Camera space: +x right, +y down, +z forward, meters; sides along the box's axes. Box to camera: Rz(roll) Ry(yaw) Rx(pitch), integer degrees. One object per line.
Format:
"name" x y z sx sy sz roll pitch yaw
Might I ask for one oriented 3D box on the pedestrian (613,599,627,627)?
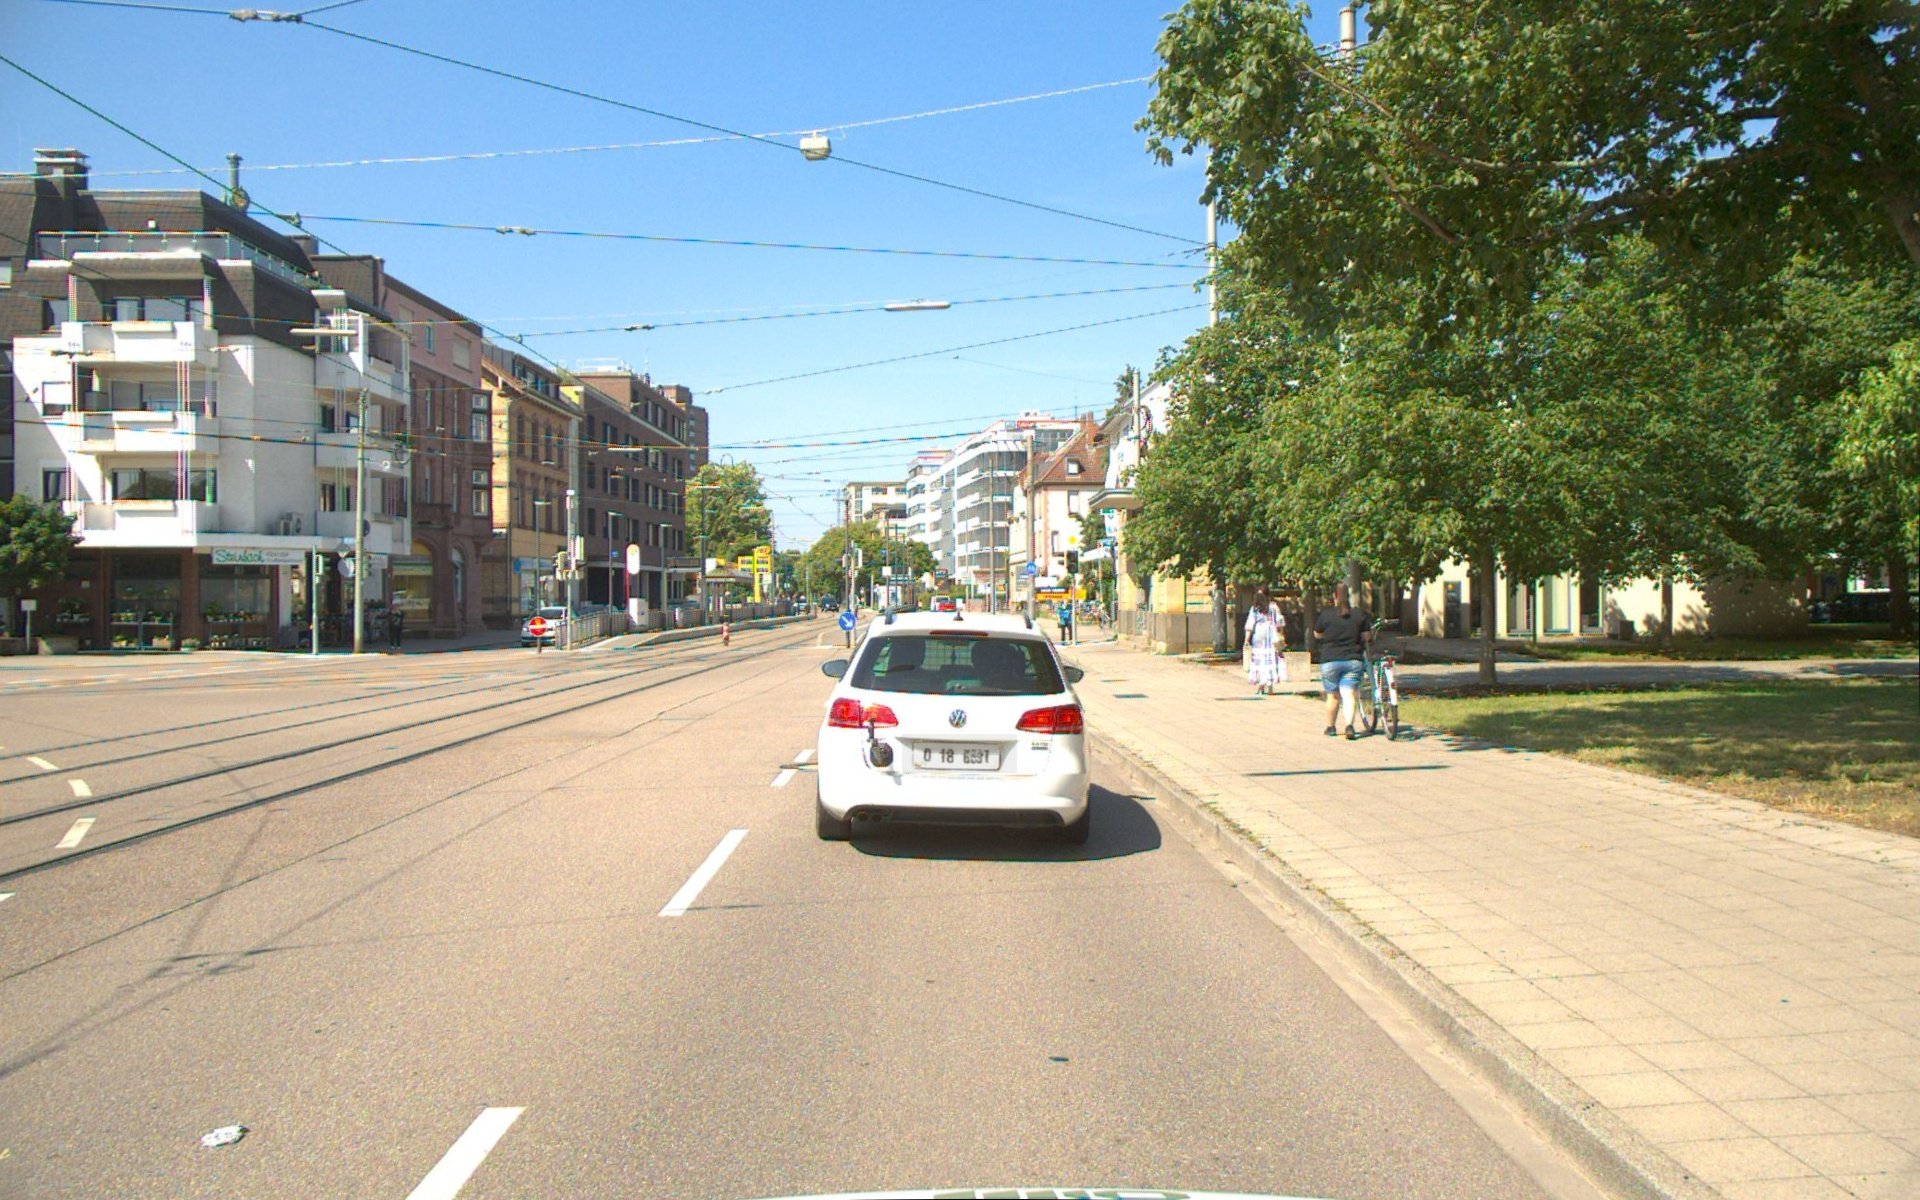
"pedestrian" -22.093 0.844 107.477 0.710 1.822 0.964 0 0 -1

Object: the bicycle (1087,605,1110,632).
"bicycle" 6.253 0.826 74.593 0.710 1.159 2.196 -1 0 12

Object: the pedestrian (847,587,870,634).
"pedestrian" -4.022 0.421 65.582 0.809 1.841 0.833 -1 0 0

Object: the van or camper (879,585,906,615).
"van or camper" -7.499 -0.004 183.907 2.884 3.235 6.611 -1 0 -2

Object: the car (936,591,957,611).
"car" -1.424 0.108 176.469 1.954 2.049 3.996 -1 0 -5

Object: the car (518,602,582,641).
"car" -15.921 0.824 64.410 1.593 1.456 3.961 0 0 -2

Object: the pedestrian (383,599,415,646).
"pedestrian" -20.260 0.814 59.720 0.861 1.676 0.680 -1 0 26

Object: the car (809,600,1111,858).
"car" 0.000 0.742 11.427 1.717 1.442 3.852 -1 0 0

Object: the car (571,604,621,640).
"car" -15.854 0.958 72.139 1.541 1.484 3.811 -1 0 -4

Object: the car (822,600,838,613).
"car" -15.774 0.774 200.907 1.634 1.492 3.772 -1 0 -1

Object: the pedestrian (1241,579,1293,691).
"pedestrian" 4.786 0.540 25.801 0.637 1.711 0.707 -1 0 -1

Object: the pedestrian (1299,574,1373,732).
"pedestrian" 3.891 0.537 17.139 0.529 1.576 0.663 -3 0 -1

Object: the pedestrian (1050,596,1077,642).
"pedestrian" 3.504 0.626 55.990 0.838 1.536 0.781 -1 0 -1

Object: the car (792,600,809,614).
"car" -18.711 0.816 193.839 1.634 1.492 3.772 -1 0 -1

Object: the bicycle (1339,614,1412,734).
"bicycle" 4.194 0.721 16.774 0.524 1.131 1.808 -2 -1 9
